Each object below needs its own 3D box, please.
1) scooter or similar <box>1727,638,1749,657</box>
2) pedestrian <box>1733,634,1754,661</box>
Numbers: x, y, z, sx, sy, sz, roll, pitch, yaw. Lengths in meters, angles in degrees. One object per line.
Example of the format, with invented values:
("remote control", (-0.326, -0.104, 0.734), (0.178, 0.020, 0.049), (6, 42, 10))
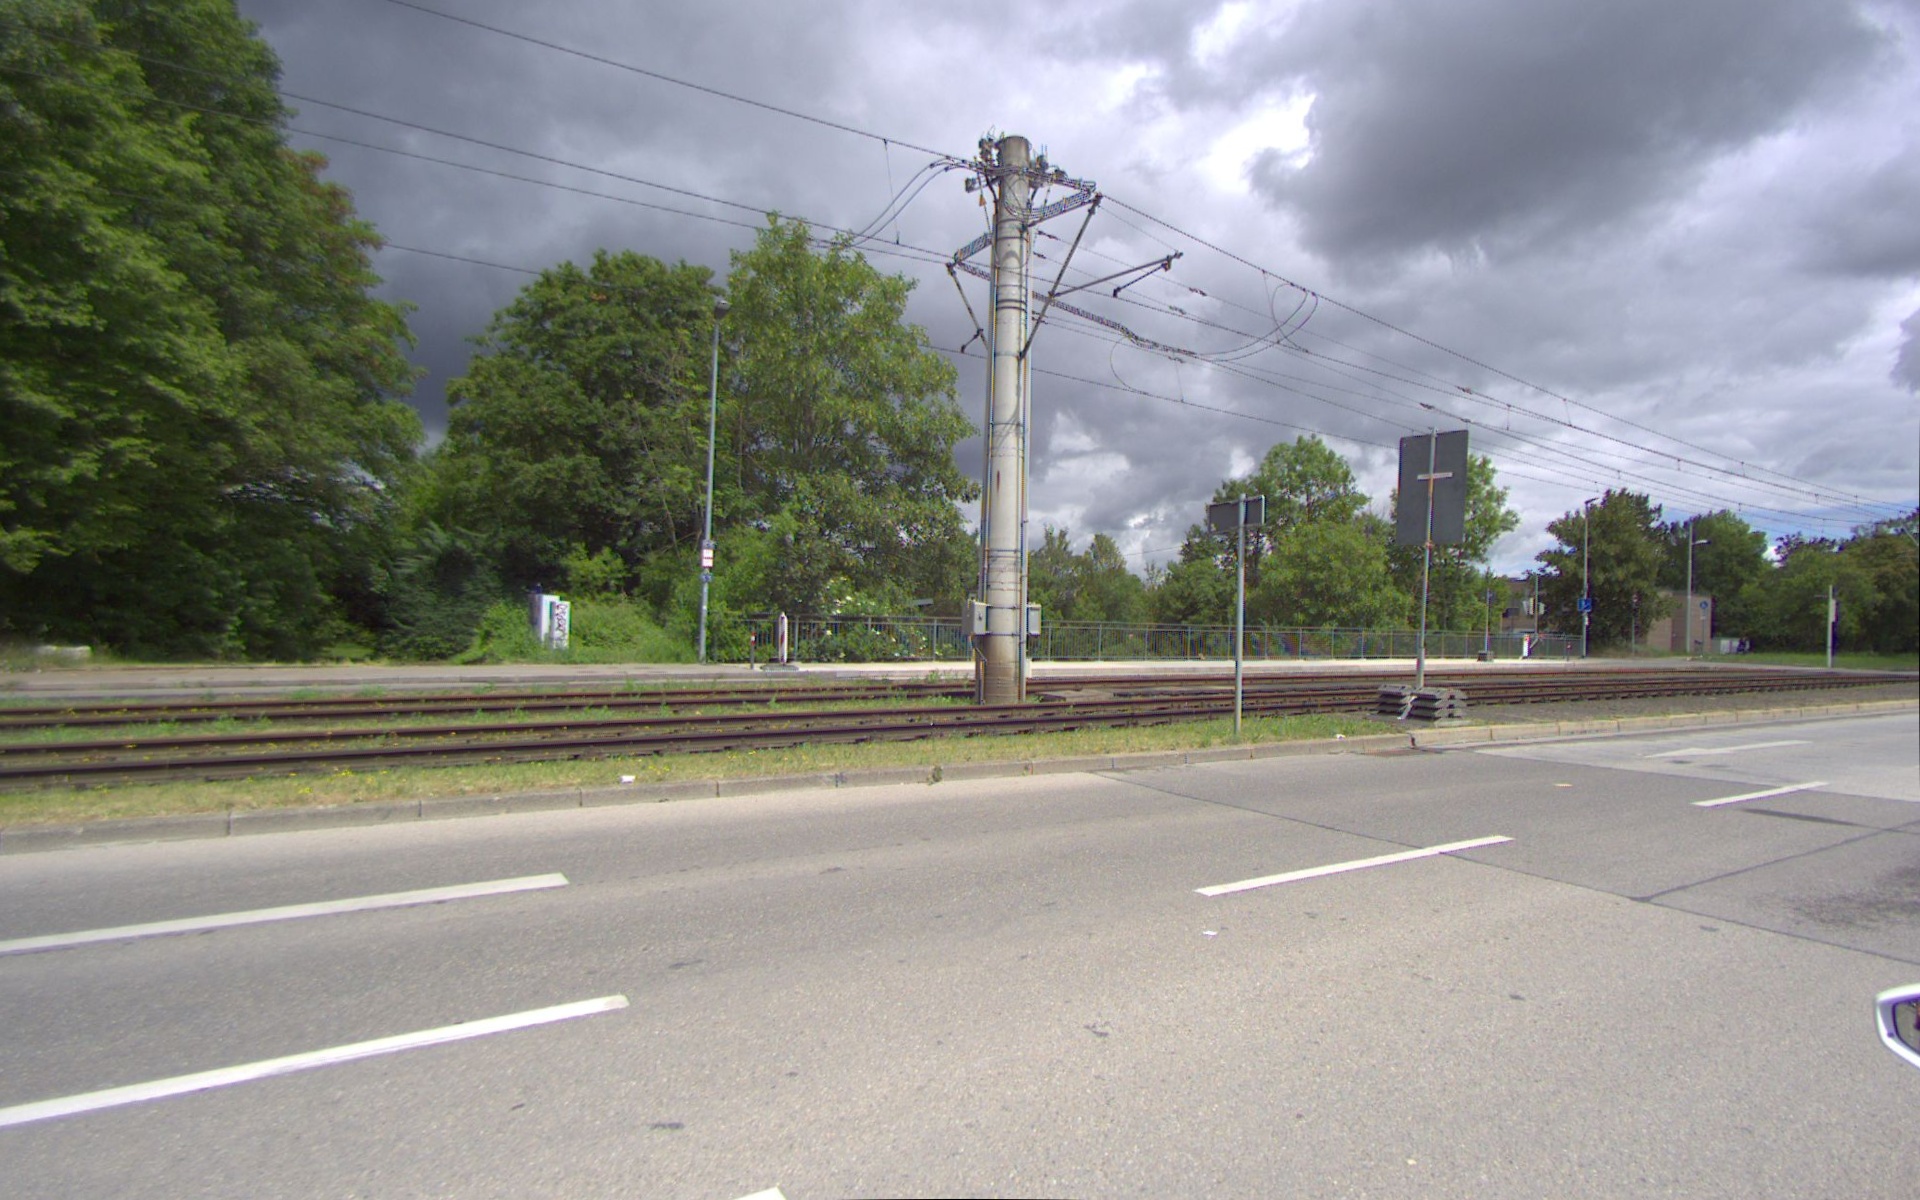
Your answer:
("scooter or similar", (53.267, 3.260, 68.788), (0.962, 1.200, 0.885), (2, 1, -33))
("pedestrian", (54.008, 3.275, 69.234), (0.799, 1.835, 0.797), (2, 1, -31))
